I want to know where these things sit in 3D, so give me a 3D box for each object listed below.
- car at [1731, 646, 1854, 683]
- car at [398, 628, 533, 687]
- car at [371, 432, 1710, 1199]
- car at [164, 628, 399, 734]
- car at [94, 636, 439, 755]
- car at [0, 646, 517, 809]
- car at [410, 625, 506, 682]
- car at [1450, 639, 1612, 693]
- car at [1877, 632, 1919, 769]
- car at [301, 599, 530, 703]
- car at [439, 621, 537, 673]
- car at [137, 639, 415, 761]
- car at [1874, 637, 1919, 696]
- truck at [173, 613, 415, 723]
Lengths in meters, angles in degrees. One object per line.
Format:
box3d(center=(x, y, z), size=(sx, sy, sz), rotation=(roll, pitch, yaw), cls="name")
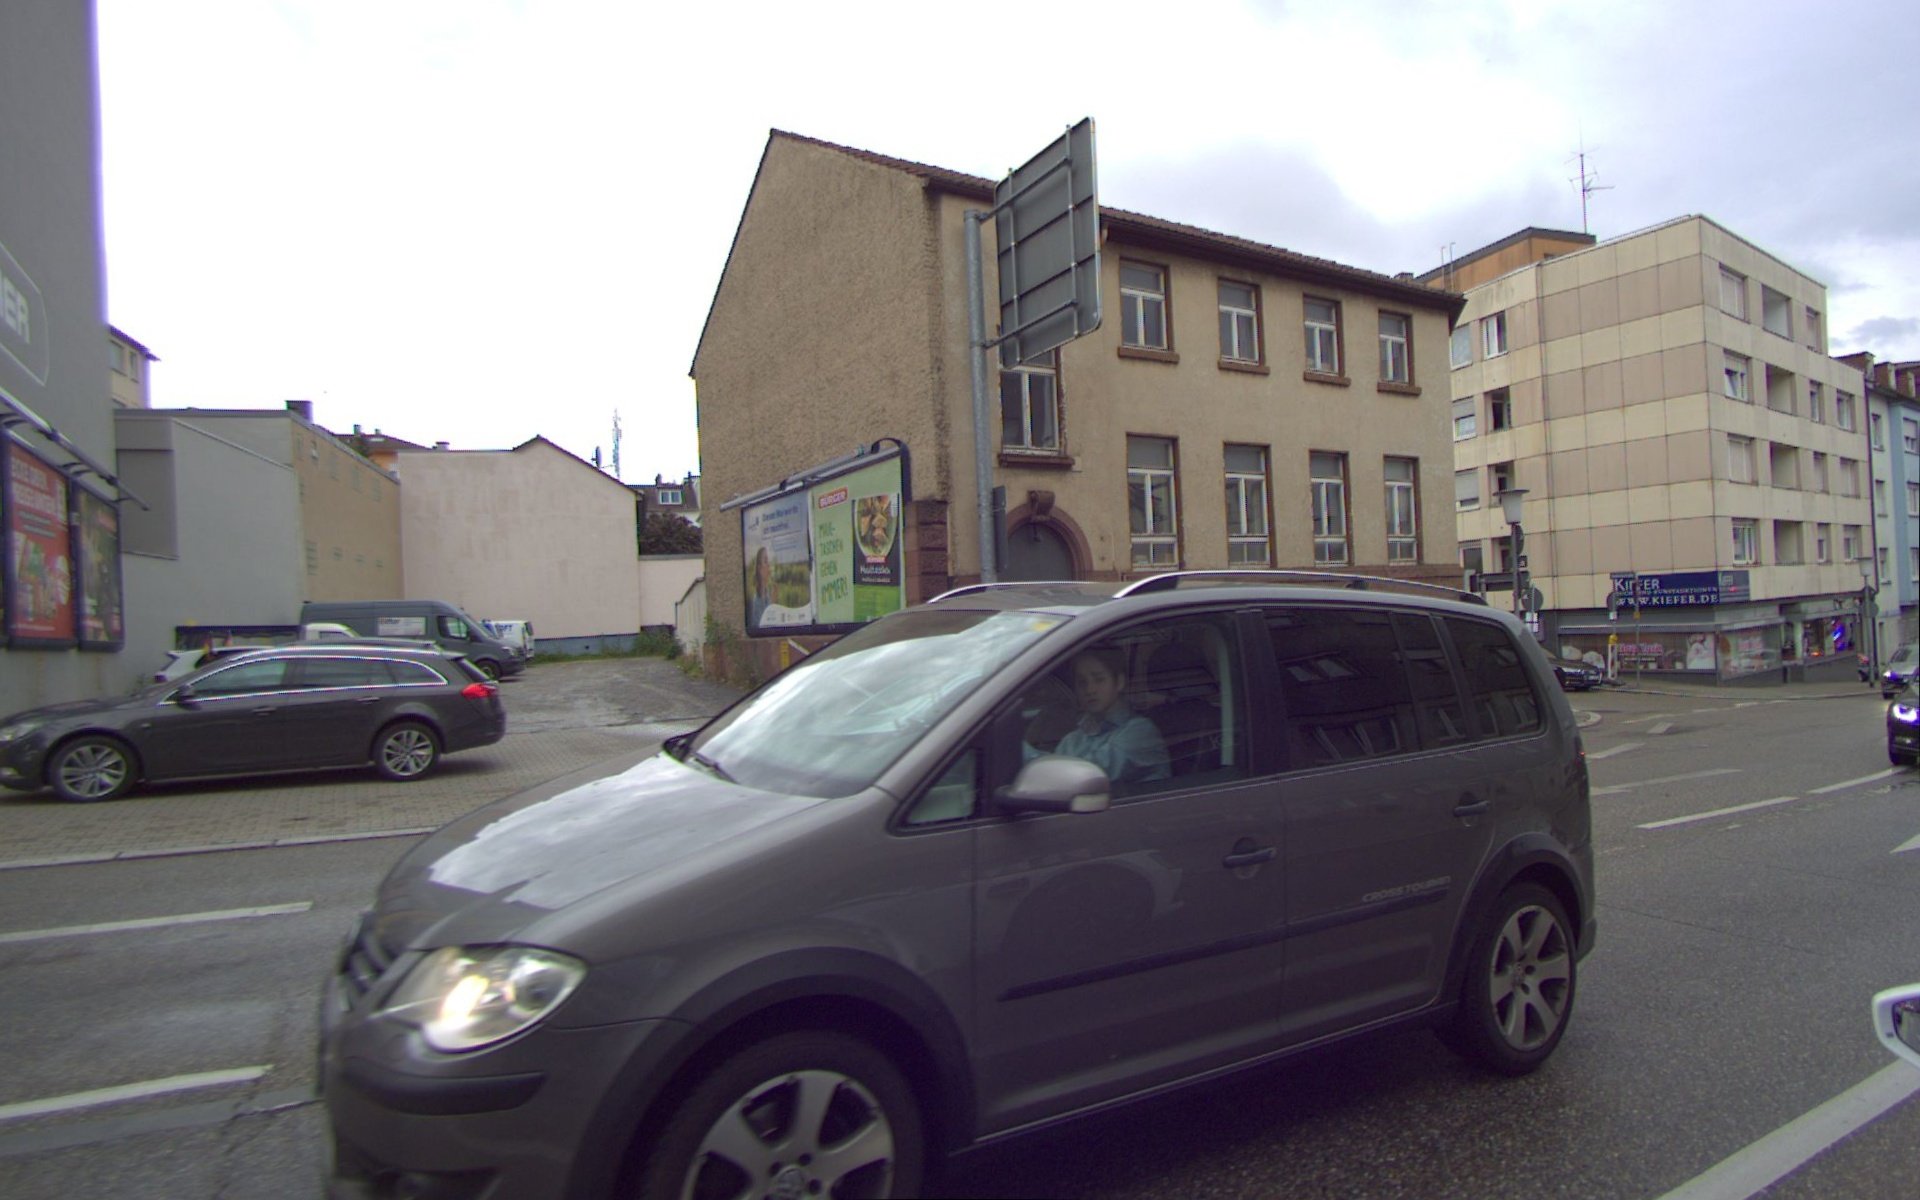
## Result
box3d(center=(37.146, 2.858, 44.920), size=(1.783, 1.519, 3.958), rotation=(3, -3, -37), cls="car")
box3d(center=(-16.026, 1.842, 32.769), size=(3.704, 1.572, 1.785), rotation=(-4, 1, -22), cls="car")
box3d(center=(0.548, 0.674, 3.570), size=(4.508, 1.727, 1.798), rotation=(2, -2, -30), cls="car")
box3d(center=(-13.259, 1.533, 19.884), size=(3.496, 1.693, 1.670), rotation=(-4, 1, -24), cls="car")
box3d(center=(-9.615, 1.262, 14.289), size=(3.810, 1.483, 1.682), rotation=(1, -2, -31), cls="car")
box3d(center=(-7.638, 1.282, 11.325), size=(4.616, 1.474, 1.680), rotation=(2, -2, -34), cls="car")
box3d(center=(-17.692, 1.866, 35.518), size=(2.802, 1.761, 1.316), rotation=(-3, 1, -21), cls="car")
box3d(center=(18.327, 2.085, 32.452), size=(1.872, 1.532, 4.321), rotation=(2, -2, -24), cls="car")
box3d(center=(12.814, 1.185, 12.246), size=(4.331, 1.535, 1.710), rotation=(3, -5, -38), cls="car")
box3d(center=(-15.924, 1.433, 29.810), size=(5.543, 2.593, 2.125), rotation=(-3, 1, -19), cls="car")
box3d(center=(-19.579, 1.940, 41.800), size=(3.445, 1.861, 1.521), rotation=(-3, 1, -21), cls="car")
box3d(center=(-11.061, 1.555, 16.581), size=(3.521, 1.535, 1.726), rotation=(-4, 1, -28), cls="car")
box3d(center=(27.956, 1.924, 28.992), size=(4.110, 1.606, 1.701), rotation=(3, -6, -40), cls="car")
box3d(center=(-14.509, 1.412, 22.202), size=(4.169, 1.998, 1.710), rotation=(-4, 1, -27), cls="truck")
